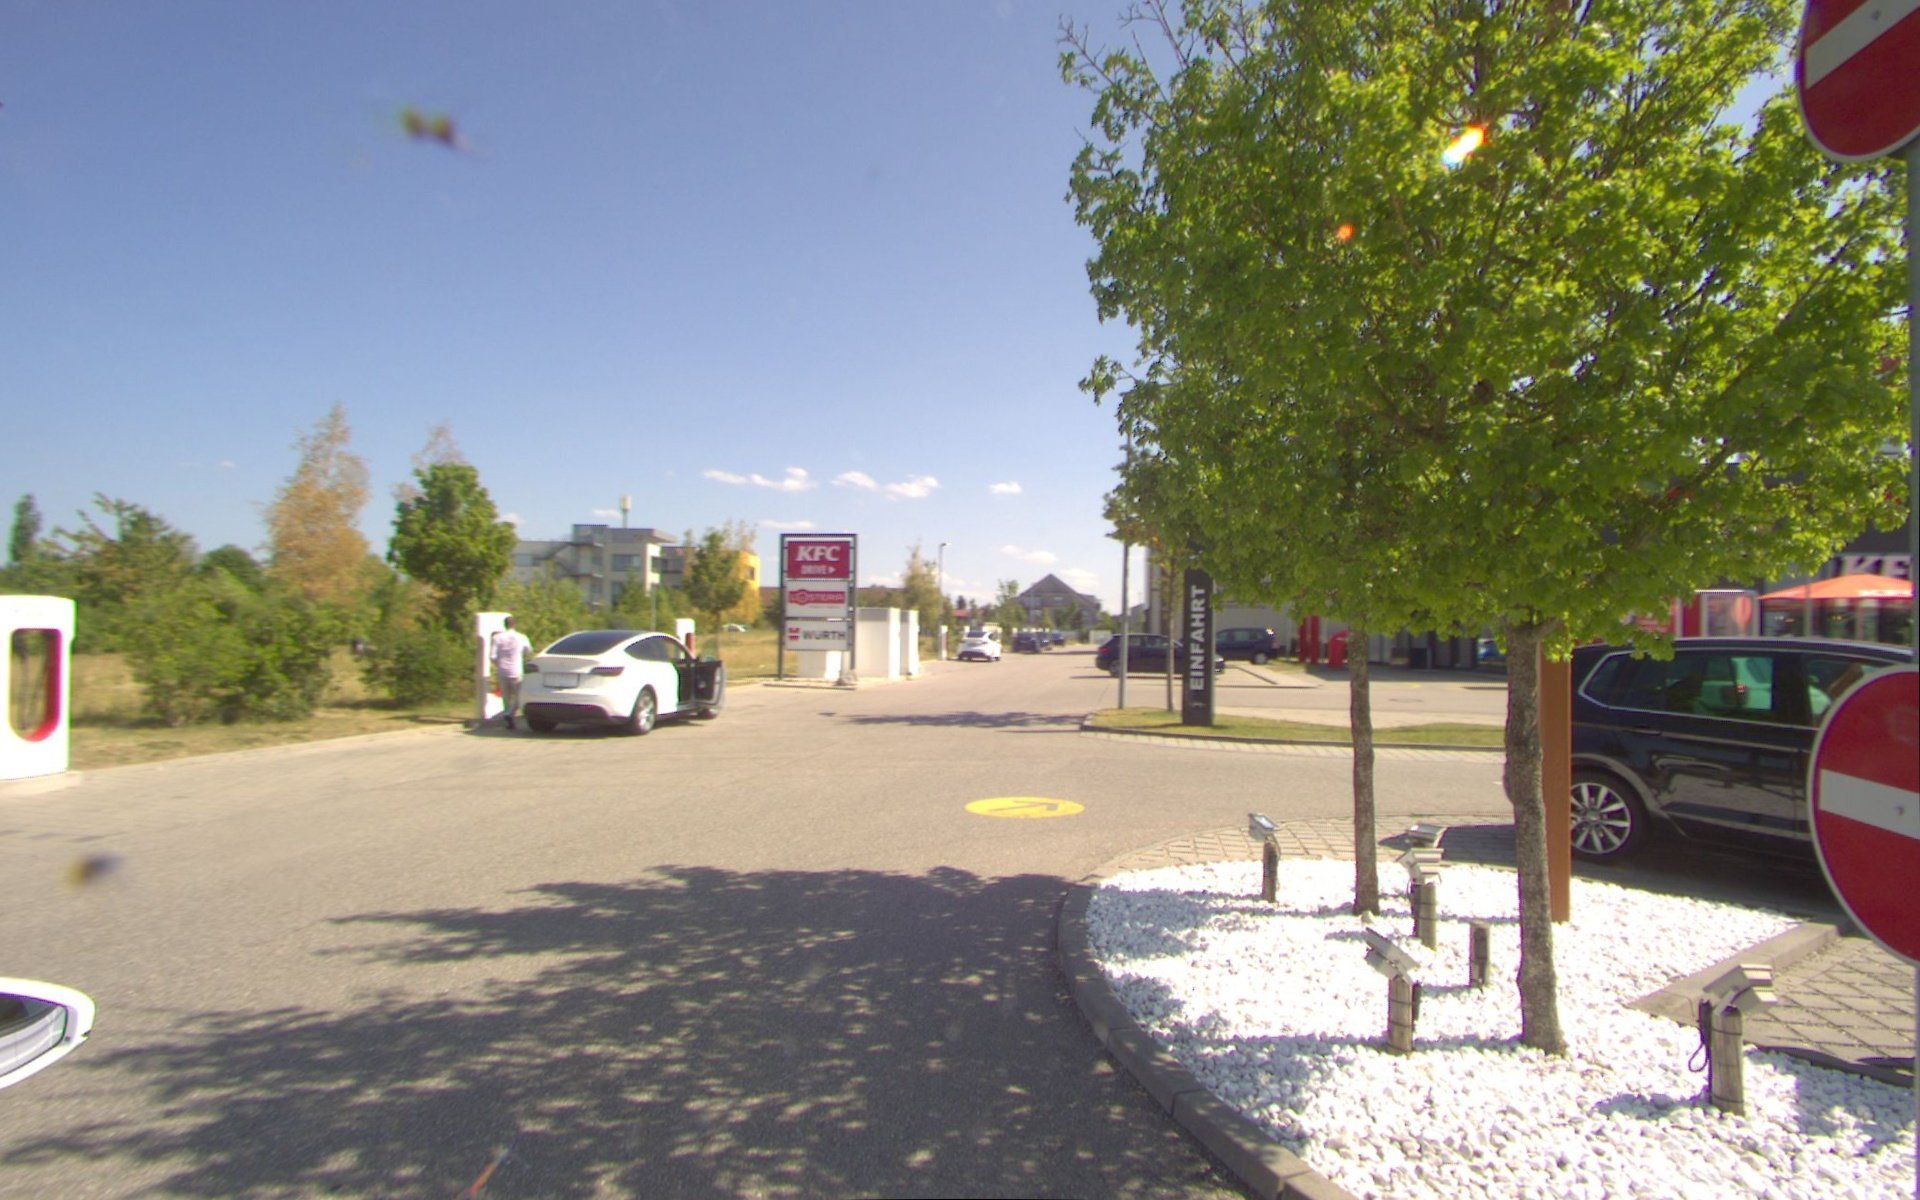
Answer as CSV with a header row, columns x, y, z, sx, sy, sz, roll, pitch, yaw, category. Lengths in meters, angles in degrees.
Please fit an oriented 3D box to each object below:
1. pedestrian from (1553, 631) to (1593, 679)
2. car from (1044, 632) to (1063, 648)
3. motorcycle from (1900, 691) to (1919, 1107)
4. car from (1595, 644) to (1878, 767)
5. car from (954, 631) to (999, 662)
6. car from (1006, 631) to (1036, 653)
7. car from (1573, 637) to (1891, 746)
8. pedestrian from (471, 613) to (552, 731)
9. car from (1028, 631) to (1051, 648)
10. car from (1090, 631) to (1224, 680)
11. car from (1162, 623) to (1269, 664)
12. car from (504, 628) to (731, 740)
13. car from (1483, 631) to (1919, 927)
x,y,z,sx,sy,sz,roll,pitch,yaw,category
18.824,1.673,30.771,0.784,1.453,0.772,0,-1,8,pedestrian
9.766,4.151,104.812,1.715,1.588,4.000,1,-2,9,car
4.025,0.959,2.536,1.059,1.267,2.234,3,-1,-37,motorcycle
10.923,1.380,14.030,4.129,1.444,1.833,2,-2,-32,car
0.958,2.536,54.984,1.914,1.588,4.000,1,-2,9,car
4.660,3.140,76.100,1.914,1.588,4.000,1,-2,9,car
13.260,1.482,17.441,1.734,1.596,4.062,2,-2,-33,car
-7.170,1.127,16.057,0.723,1.823,1.036,1,-1,7,pedestrian
6.957,3.444,87.443,1.715,1.405,4.000,1,-2,9,car
6.336,1.759,32.453,4.133,1.459,1.698,1,-1,10,car
11.119,1.881,43.799,4.299,1.707,1.642,1,-1,6,car
-5.615,1.304,17.121,1.834,1.621,4.489,1,-1,8,car
5.786,1.009,6.169,1.872,1.556,4.162,1,-1,-35,car
